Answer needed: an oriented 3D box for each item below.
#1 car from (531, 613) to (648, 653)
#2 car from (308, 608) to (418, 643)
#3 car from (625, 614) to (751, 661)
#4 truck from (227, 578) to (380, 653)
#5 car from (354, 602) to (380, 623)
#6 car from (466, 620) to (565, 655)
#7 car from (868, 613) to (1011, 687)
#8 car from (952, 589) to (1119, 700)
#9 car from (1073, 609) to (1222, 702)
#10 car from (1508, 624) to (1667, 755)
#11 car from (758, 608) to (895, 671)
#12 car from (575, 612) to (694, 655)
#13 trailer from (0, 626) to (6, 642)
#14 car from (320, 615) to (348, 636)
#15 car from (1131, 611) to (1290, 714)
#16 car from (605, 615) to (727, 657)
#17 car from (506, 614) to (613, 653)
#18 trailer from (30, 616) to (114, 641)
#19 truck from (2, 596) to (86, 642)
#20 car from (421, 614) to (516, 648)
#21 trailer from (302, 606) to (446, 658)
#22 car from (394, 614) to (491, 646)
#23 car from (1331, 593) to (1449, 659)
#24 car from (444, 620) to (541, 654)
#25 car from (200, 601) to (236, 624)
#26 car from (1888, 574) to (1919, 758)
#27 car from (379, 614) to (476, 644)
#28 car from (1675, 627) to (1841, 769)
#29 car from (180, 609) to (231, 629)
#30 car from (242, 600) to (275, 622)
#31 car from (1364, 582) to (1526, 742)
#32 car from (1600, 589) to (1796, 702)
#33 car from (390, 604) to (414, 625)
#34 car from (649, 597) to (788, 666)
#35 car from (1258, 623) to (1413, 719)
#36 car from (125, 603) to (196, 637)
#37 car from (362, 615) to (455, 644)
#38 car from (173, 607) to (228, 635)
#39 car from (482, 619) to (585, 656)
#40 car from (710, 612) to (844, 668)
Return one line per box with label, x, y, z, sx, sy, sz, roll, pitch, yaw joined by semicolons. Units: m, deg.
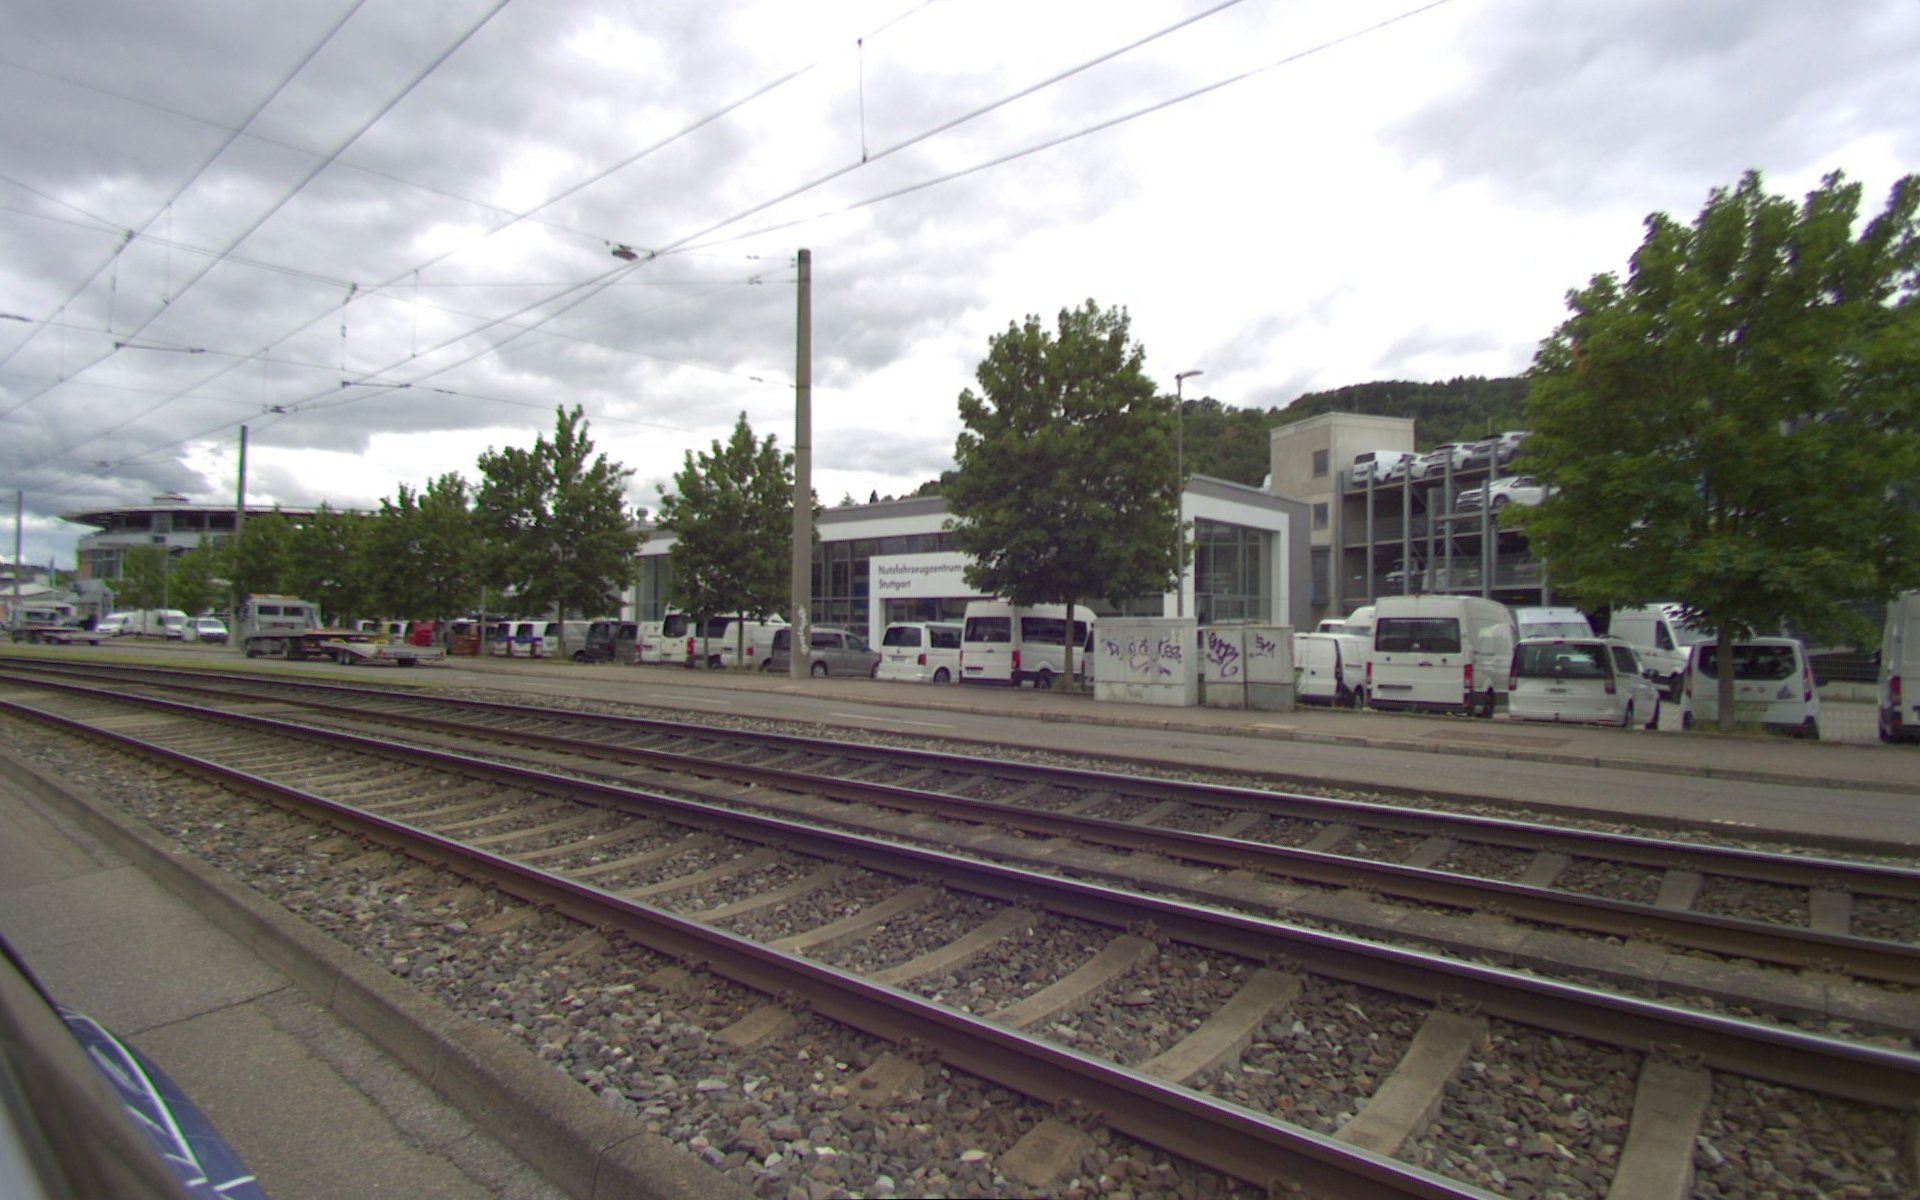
car;-15.931;1.412;43.632;2.004;1.630;4.317;-1;-2;43
car;-36.059;1.547;61.314;5.616;2.023;2.150;1;-2;-29
car;-10.386;1.410;38.929;2.029;1.701;4.322;-1;-2;39
truck;-27.527;0.701;42.231;9.212;2.762;2.728;-1;-4;40
car;-58.379;1.287;99.693;1.965;2.029;4.013;1;-1;-27
car;-21.496;1.786;49.013;2.001;1.630;3.942;-1;-2;44
car;-0.549;1.439;30.399;2.002;2.026;4.322;-1;-2;39
car;2.139;1.145;27.373;2.113;2.719;4.917;-1;-2;39
car;4.935;1.362;26.183;2.002;2.189;4.322;-1;-2;39
car;11.795;1.520;18.891;2.002;2.121;4.322;-1;-2;39
car;-4.445;1.296;34.142;2.004;1.962;4.317;-1;-2;44
car;-13.626;1.389;42.520;2.004;1.699;4.317;-1;-2;44
trailer;-81.385;2.740;83.187;6.991;1.287;3.022;-1;-4;35
car;-59.680;2.416;96.535;1.965;2.029;4.013;1;-1;-27
car;5.965;1.383;23.793;2.002;2.189;4.322;-1;-2;39
car;-11.806;1.426;40.834;2.004;1.630;4.317;-1;-2;44
car;-17.770;1.476;44.986;2.001;1.630;3.942;-1;-2;44
trailer;-59.035;1.935;67.209;7.213;1.507;2.732;-1;-4;37
truck;-65.239;1.391;72.028;8.440;3.004;2.837;-1;-4;37
car;-25.188;1.577;51.955;2.048;1.677;3.942;-1;-2;44
trailer;-21.462;1.164;36.921;6.944;1.711;2.358;-1;-4;41
car;-27.392;1.589;53.610;2.063;1.630;4.131;-1;-2;44
car;14.383;0.865;33.739;2.001;2.029;4.788;-1;-2;45
car;-23.158;1.806;50.233;2.001;1.630;3.942;-1;-2;44
car;-67.820;1.175;92.546;1.965;2.029;4.013;1;-2;-27
car;16.151;0.975;15.921;2.246;2.622;5.413;-1;-2;43
car;-29.476;1.586;56.071;2.121;1.630;4.296;-1;-2;44
car;13.744;1.526;17.477;2.002;2.121;4.322;-1;-2;39
car;-74.665;1.896;100.186;1.973;2.029;3.996;0;-1;3
car;-65.223;1.057;94.118;1.965;2.029;4.013;1;-2;-27
car;9.838;1.160;20.362;2.002;2.840;4.322;-1;-2;39
car;19.236;1.137;26.810;1.984;2.622;5.927;0;-1;13
car;-54.982;1.453;99.729;1.965;2.029;4.013;1;-1;-27
car;-8.624;1.129;36.467;2.126;2.329;4.446;-1;-2;44
car;8.475;1.475;22.628;2.002;1.925;4.322;-1;-2;39
car;-62.454;1.587;79.018;5.829;2.580;1.983;-1;-2;25
car;-31.645;1.686;58.135;2.155;1.630;4.287;-1;-2;44
car;-56.848;1.593;75.727;4.798;2.029;1.975;-1;-2;36
car;-19.834;1.724;47.162;2.001;1.630;3.942;-1;-2;44
car;-6.373;1.367;35.560;2.004;1.859;4.317;-1;-2;44
